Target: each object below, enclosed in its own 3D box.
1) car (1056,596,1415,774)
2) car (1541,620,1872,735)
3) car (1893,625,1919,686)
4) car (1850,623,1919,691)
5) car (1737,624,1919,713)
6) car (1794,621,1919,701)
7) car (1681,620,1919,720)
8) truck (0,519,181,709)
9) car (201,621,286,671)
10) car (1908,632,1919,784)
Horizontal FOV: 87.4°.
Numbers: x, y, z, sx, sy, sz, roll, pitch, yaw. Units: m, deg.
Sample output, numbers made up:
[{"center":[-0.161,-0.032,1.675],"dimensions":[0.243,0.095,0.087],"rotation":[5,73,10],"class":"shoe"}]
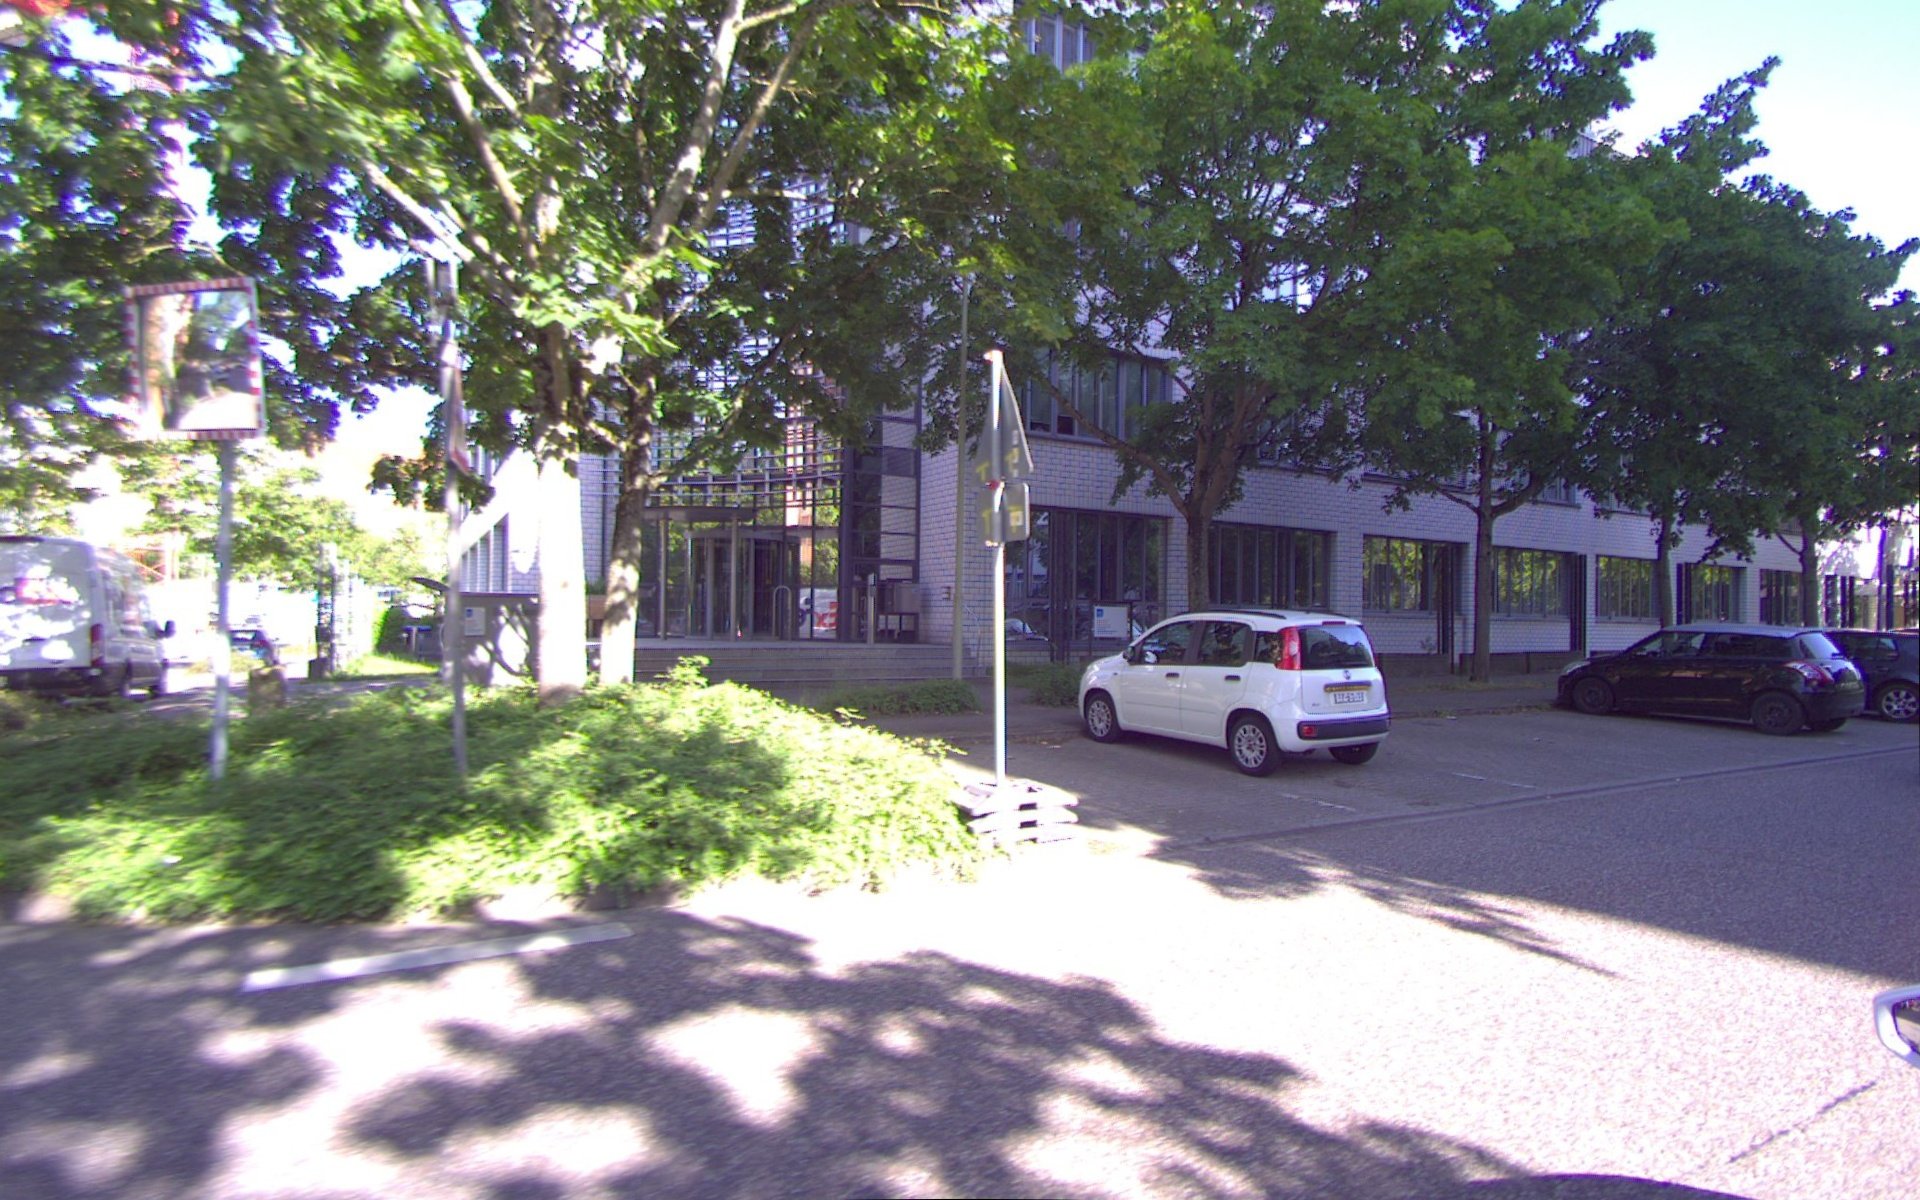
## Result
[{"center":[2.787,0.813,10.848],"dimensions":[1.620,1.569,3.561],"rotation":[5,-3,-31],"class":"car"},{"center":[11.172,1.080,15.293],"dimensions":[1.657,1.483,3.715],"rotation":[2,-1,-30],"class":"car"},{"center":[24.132,1.379,22.879],"dimensions":[1.589,1.425,3.963],"rotation":[2,0,-33],"class":"car"},{"center":[21.728,1.279,21.290],"dimensions":[1.647,1.431,3.966],"rotation":[2,0,-31],"class":"car"},{"center":[17.379,1.264,19.033],"dimensions":[1.735,1.476,3.844],"rotation":[0,1,-32],"class":"car"},{"center":[19.300,1.228,20.327],"dimensions":[1.679,1.483,3.397],"rotation":[0,1,-34],"class":"car"},{"center":[15.149,1.166,17.599],"dimensions":[1.612,1.464,3.745],"rotation":[2,0,-29],"class":"car"},{"center":[-15.364,0.246,17.097],"dimensions":[2.549,2.740,6.073],"rotation":[1,-2,-31],"class":"truck"},{"center":[-25.730,1.632,36.212],"dimensions":[1.985,1.700,3.970],"rotation":[2,-2,-29],"class":"car"},{"center":[11.206,1.058,9.739],"dimensions":[4.057,1.434,1.805],"rotation":[1,-1,-29],"class":"car"}]
